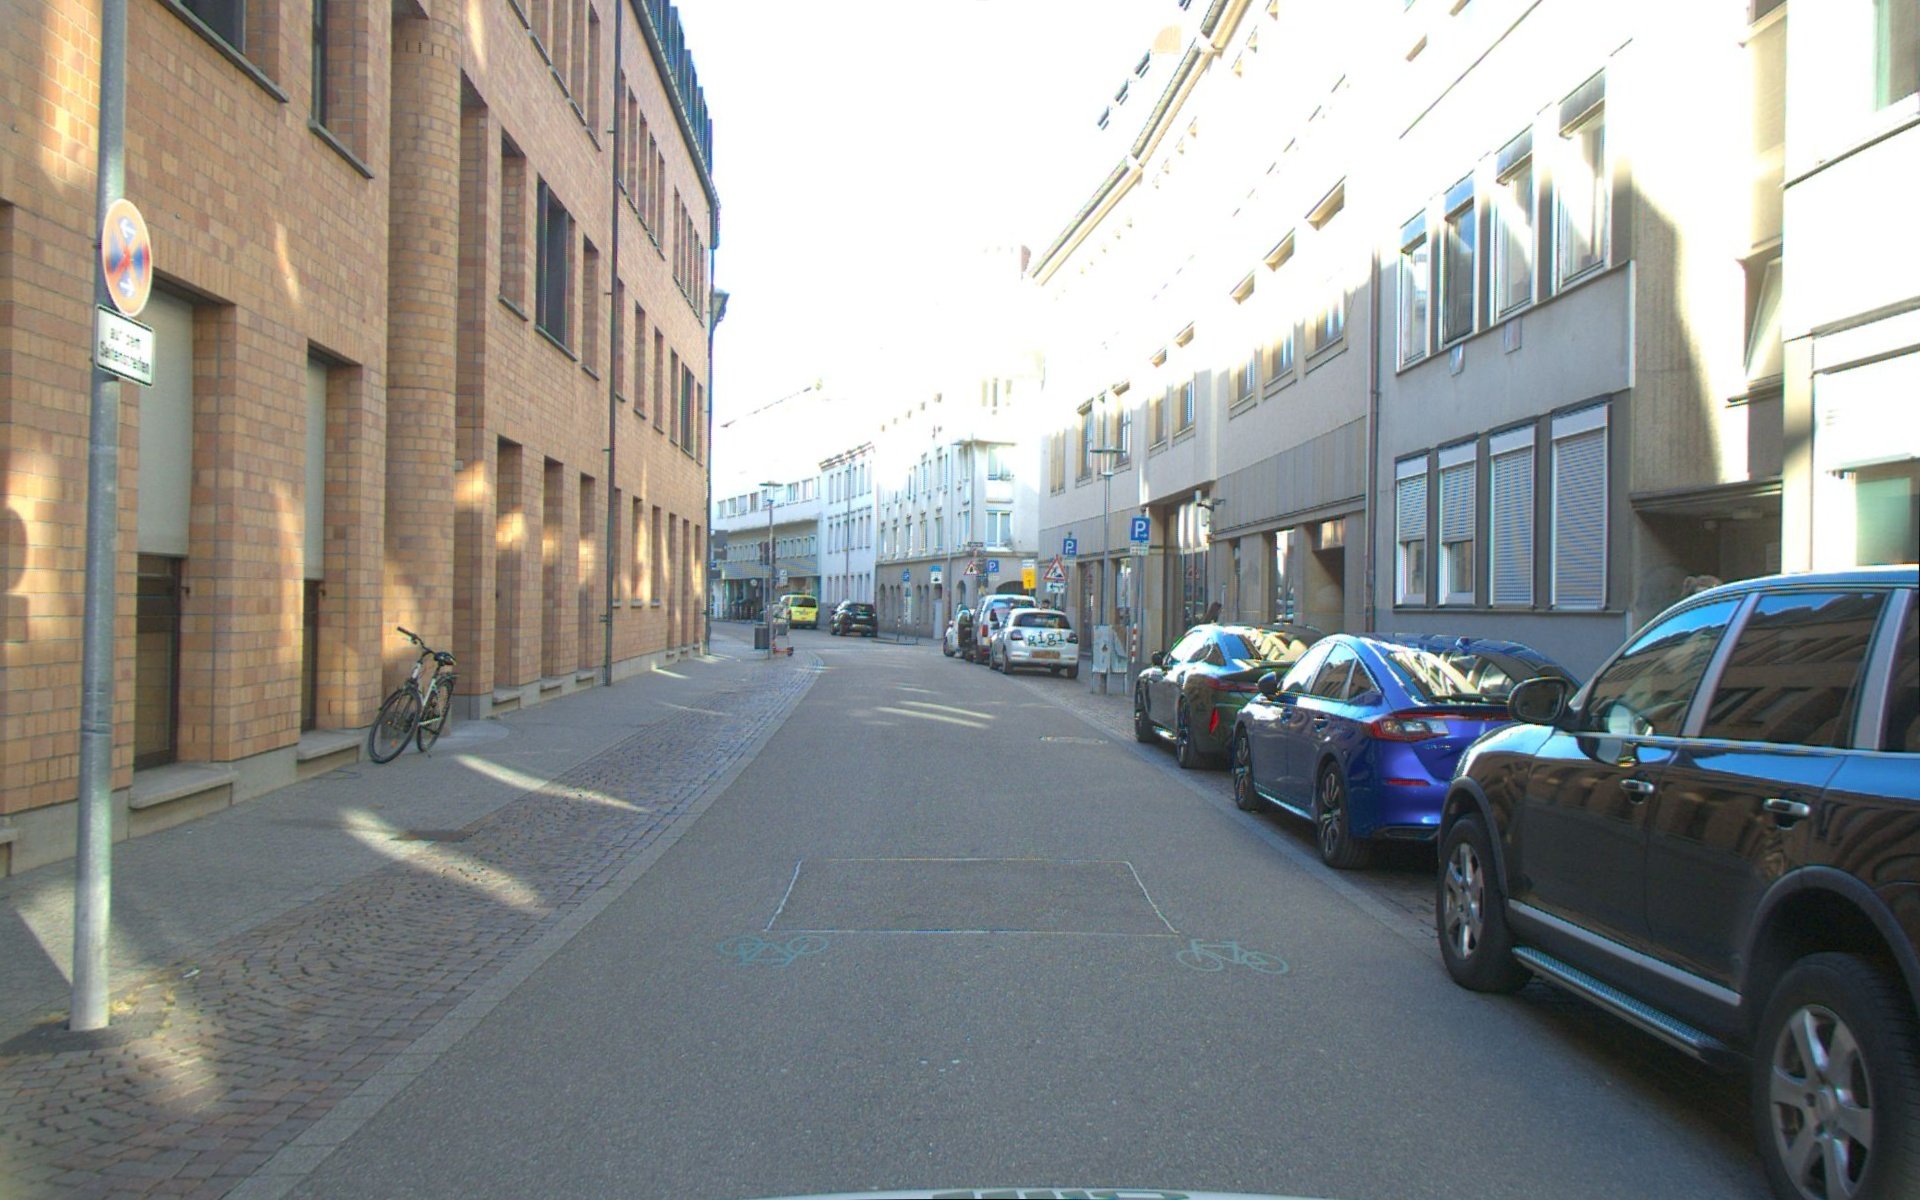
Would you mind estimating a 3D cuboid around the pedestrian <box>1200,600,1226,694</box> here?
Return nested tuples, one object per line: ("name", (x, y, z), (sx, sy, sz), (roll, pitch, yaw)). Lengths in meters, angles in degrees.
("pedestrian", (4.595, 0.840, 30.030), (0.470, 1.683, 0.539), (0, 0, 10))

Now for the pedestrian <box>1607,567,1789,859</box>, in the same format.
("pedestrian", (4.624, 0.684, 10.411), (0.772, 1.751, 0.746), (-1, 0, -1))

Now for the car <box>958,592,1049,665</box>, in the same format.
("car", (1.120, 0.752, 44.977), (1.795, 1.822, 5.207), (2, 0, -6))

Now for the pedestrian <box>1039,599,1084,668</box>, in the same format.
("pedestrian", (2.759, 0.902, 44.984), (1.022, 1.833, 1.197), (1, -1, -6))

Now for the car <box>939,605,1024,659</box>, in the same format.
("car", (0.617, 0.947, 50.896), (1.854, 1.545, 4.053), (1, 0, -10))

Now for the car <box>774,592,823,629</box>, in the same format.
("car", (-9.433, 0.589, 96.439), (2.021, 2.049, 4.154), (1, 0, -18))

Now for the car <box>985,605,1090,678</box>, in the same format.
("car", (1.754, 0.918, 38.709), (1.805, 1.504, 4.162), (3, 0, -6))

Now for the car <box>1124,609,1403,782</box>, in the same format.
("car", (3.019, 0.880, 17.646), (1.856, 1.478, 5.224), (2, 0, -2))

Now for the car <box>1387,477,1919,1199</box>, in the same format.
("car", (3.116, 0.674, 5.432), (2.060, 1.817, 5.051), (2, 0, 0))

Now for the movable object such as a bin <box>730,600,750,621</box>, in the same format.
("movable object such as a bin", (-16.200, 0.776, 121.759), (1.115, 1.505, 1.728), (1, 0, -21))

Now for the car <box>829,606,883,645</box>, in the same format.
("car", (-5.103, 1.220, 80.435), (1.934, 1.721, 4.087), (2, 0, -13))

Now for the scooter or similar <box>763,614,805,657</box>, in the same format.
("scooter or similar", (-5.164, 1.037, 48.597), (0.683, 1.239, 1.357), (0, 0, 22))

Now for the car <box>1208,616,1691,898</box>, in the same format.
("car", (3.095, 0.904, 11.613), (1.771, 1.437, 4.788), (3, 0, -2))

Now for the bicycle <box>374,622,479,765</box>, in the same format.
("bicycle", (-4.952, 0.835, 15.442), (0.620, 1.182, 1.800), (4, 0, -10))
